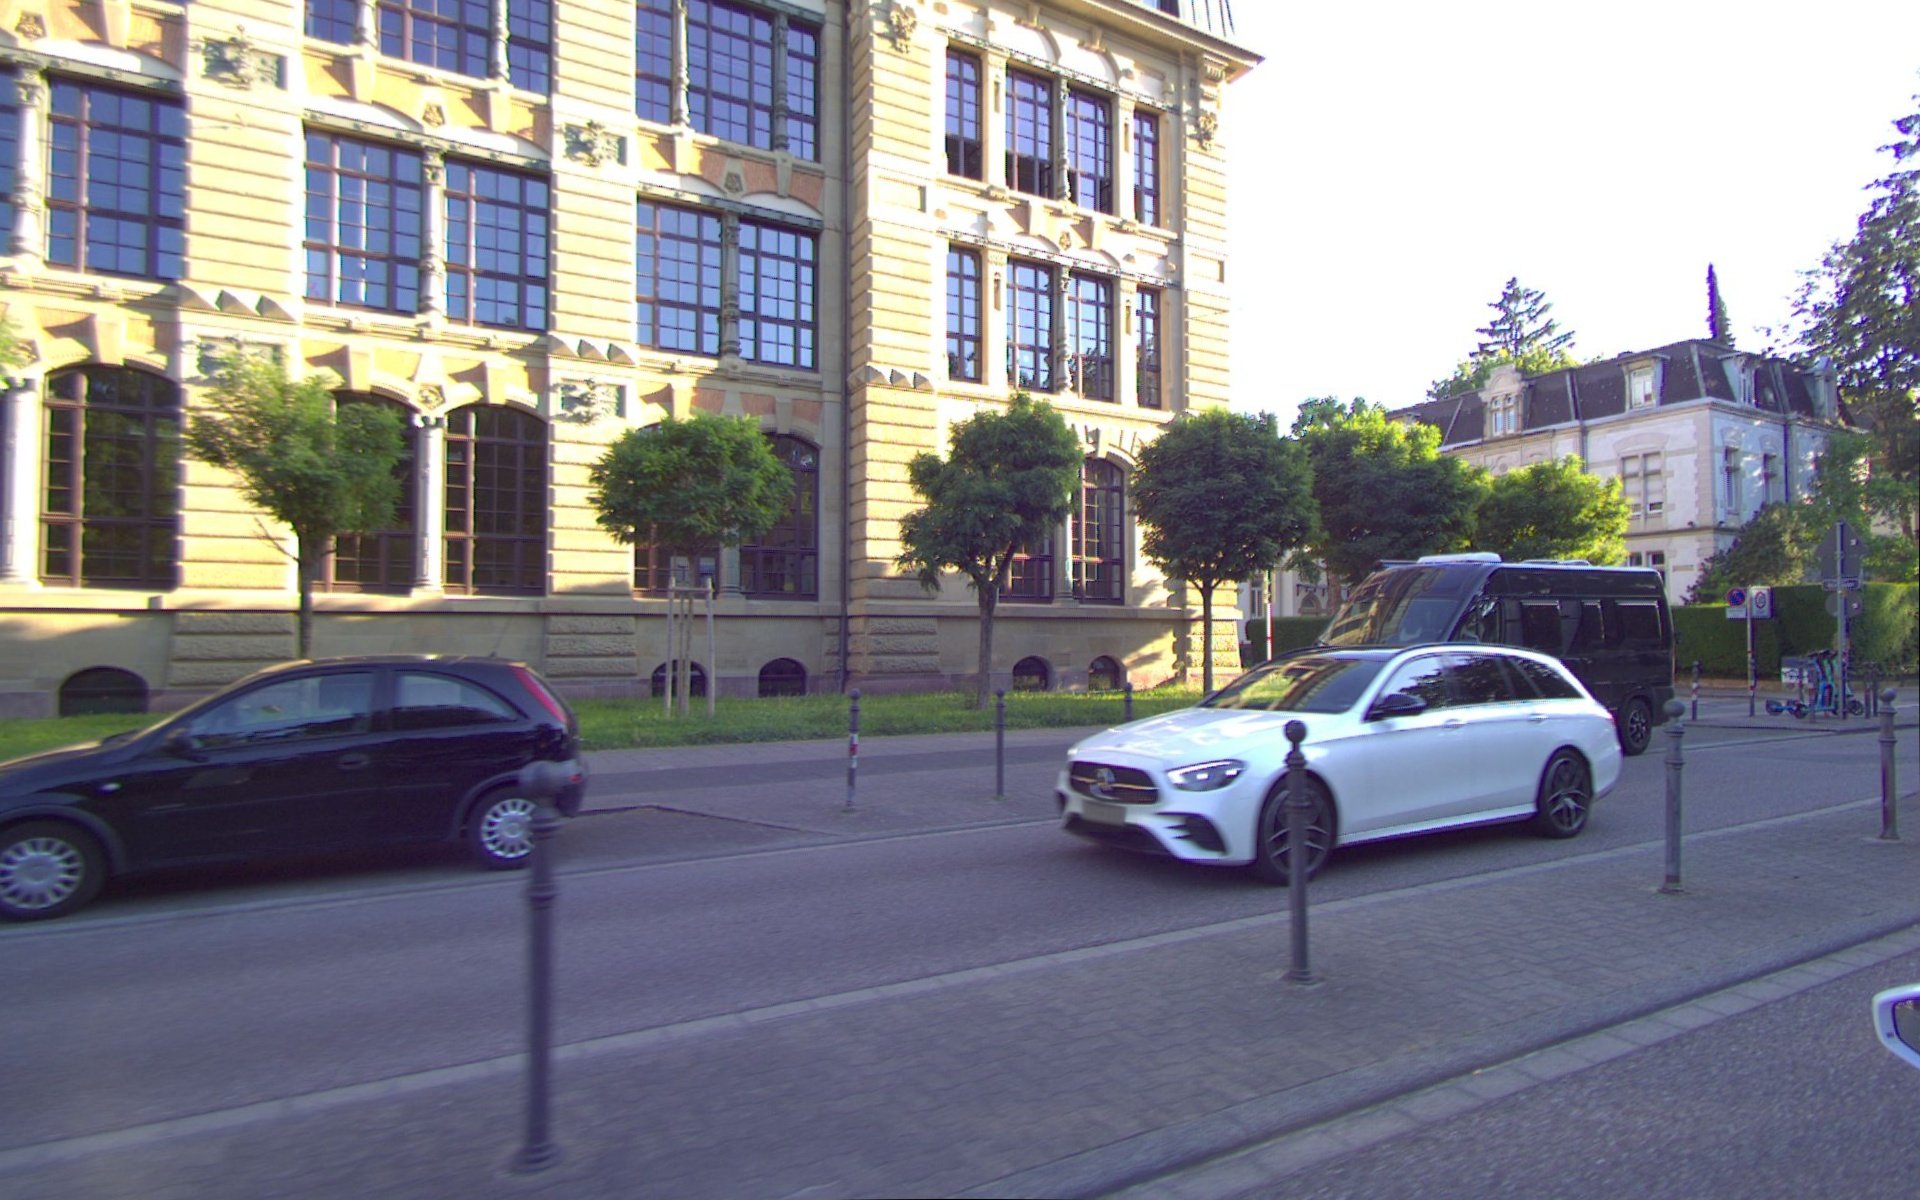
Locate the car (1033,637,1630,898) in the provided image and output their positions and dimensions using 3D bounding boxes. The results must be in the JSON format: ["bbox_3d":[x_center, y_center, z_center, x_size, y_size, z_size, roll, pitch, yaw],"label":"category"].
[{"bbox_3d":[2.923,1.044,7.621,4.569,1.477,1.733,2,-3,-30],"label":"car"}]

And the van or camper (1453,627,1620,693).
[{"bbox_3d":[20.292,2.076,35.614,1.974,2.012,4.753,-4,-1,-26],"label":"van or camper"}]

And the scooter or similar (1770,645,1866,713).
[{"bbox_3d":[16.574,1.510,19.427,1.319,1.291,0.431,-1,-2,26],"label":"scooter or similar"}]

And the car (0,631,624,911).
[{"bbox_3d":[-4.433,0.994,6.917,3.805,1.490,1.690,1,0,-28],"label":"car"}]

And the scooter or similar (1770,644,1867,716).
[{"bbox_3d":[15.860,1.468,18.567,1.317,1.291,0.432,0,-2,7],"label":"scooter or similar"}]

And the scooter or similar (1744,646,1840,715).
[{"bbox_3d":[15.907,1.525,19.234,1.319,1.291,0.431,-1,-2,26],"label":"scooter or similar"}]

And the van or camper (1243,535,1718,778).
[{"bbox_3d":[7.130,0.695,13.390,6.995,2.578,2.219,2,-1,-30],"label":"van or camper"}]
